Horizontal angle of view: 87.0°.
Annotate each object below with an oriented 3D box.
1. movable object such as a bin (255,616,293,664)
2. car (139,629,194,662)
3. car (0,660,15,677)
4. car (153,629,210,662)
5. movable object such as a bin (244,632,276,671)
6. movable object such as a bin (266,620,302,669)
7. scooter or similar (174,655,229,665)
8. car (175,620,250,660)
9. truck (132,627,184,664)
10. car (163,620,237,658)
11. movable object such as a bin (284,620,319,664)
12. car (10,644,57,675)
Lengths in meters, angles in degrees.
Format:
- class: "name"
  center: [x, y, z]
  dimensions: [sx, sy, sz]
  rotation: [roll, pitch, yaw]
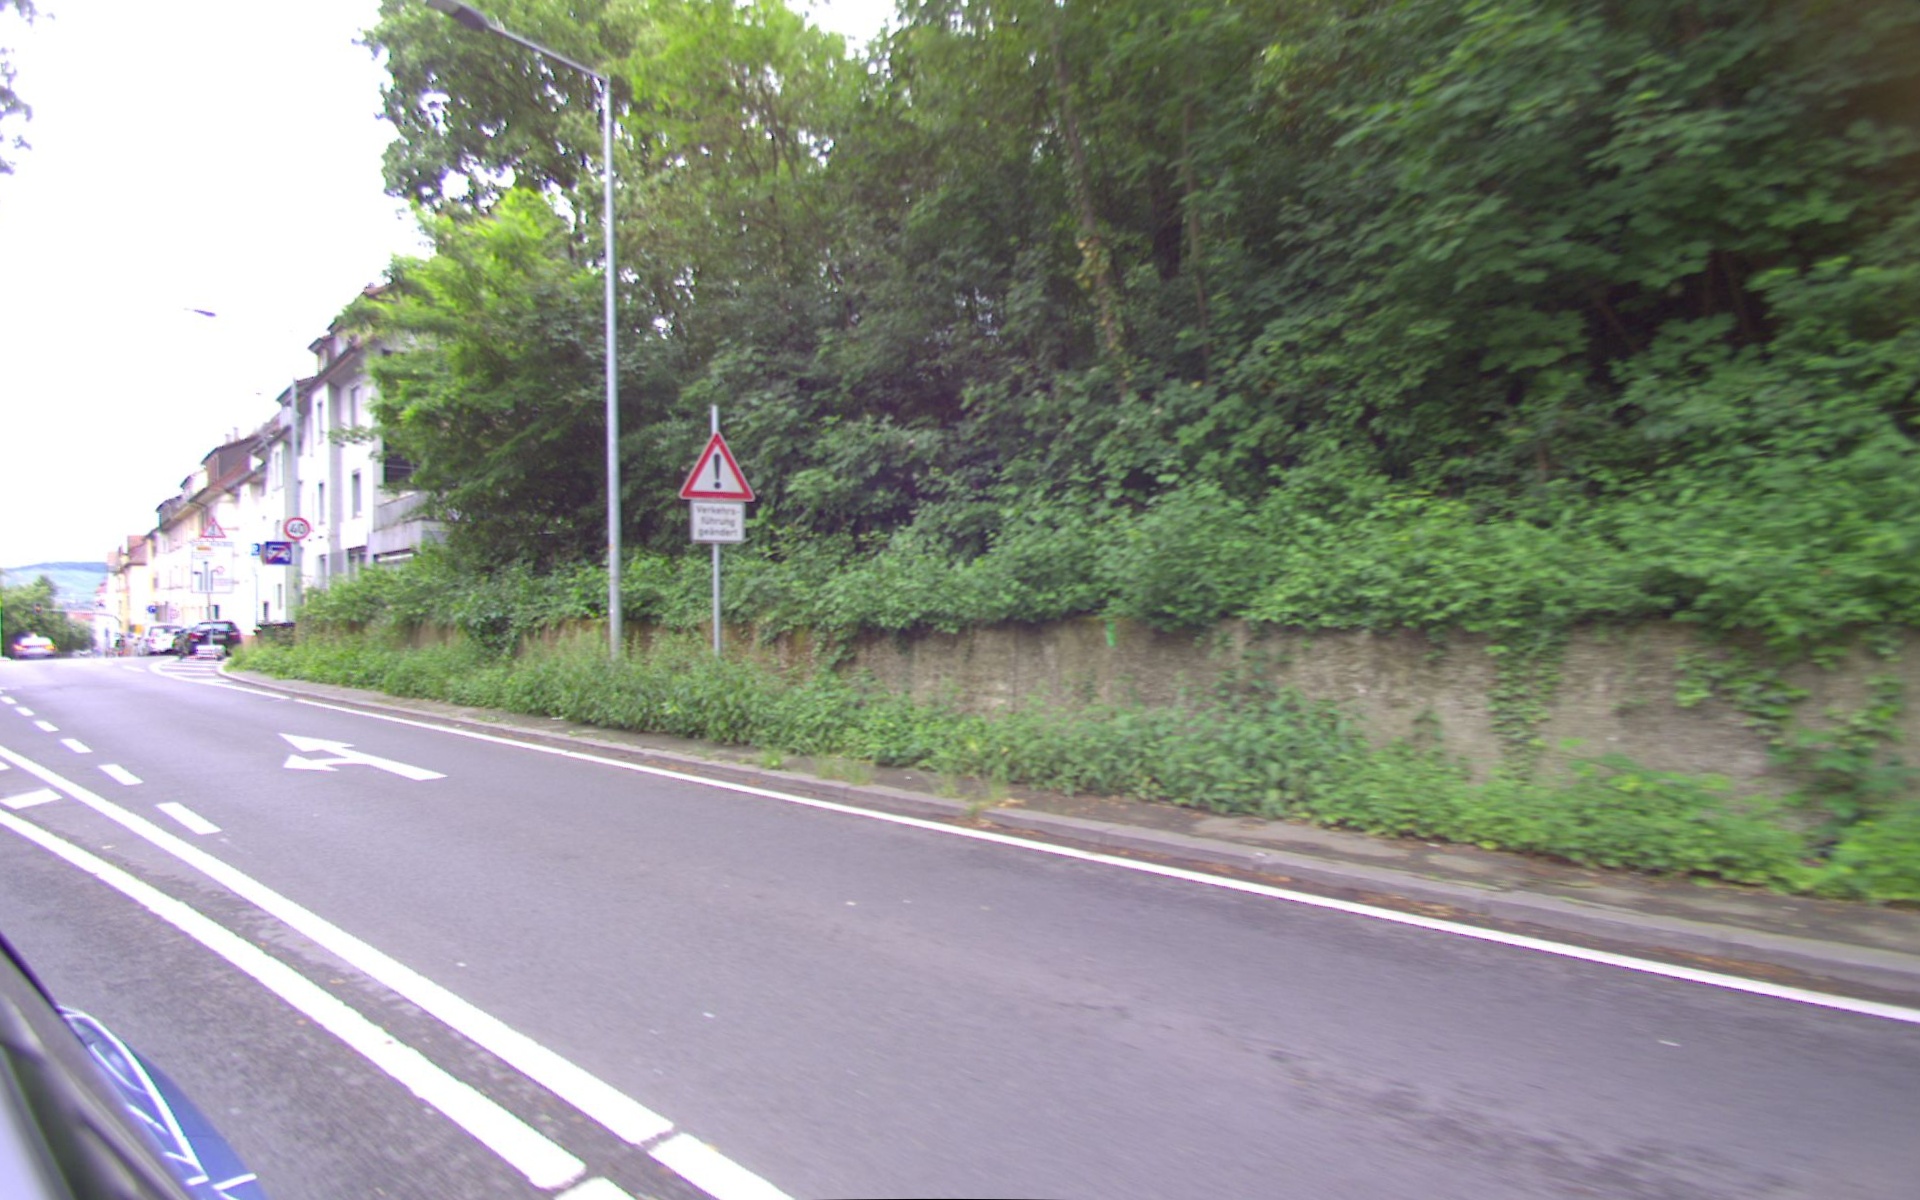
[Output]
- class: "movable object such as a bin"
  center: [-17.707, 1.026, 26.132]
  dimensions: [0.490, 1.194, 0.600]
  rotation: [-2, 1, 33]
- class: "car"
  center: [-42.129, 2.445, 53.696]
  dimensions: [1.970, 1.564, 4.386]
  rotation: [0, -3, -43]
- class: "car"
  center: [-87.752, 6.313, 92.686]
  dimensions: [1.725, 1.478, 4.590]
  rotation: [-1, -3, -42]
- class: "car"
  center: [-38.650, 2.270, 50.179]
  dimensions: [1.969, 1.485, 4.163]
  rotation: [0, -3, -41]
- class: "movable object such as a bin"
  center: [-18.347, 1.341, 26.540]
  dimensions: [0.443, 0.974, 0.512]
  rotation: [-2, 1, 33]
- class: "movable object such as a bin"
  center: [-17.237, 1.132, 25.793]
  dimensions: [0.429, 1.194, 0.576]
  rotation: [-2, 1, 33]
- class: "scooter or similar"
  center: [-24.328, 1.921, 32.462]
  dimensions: [1.096, 0.290, 1.115]
  rotation: [-2, -2, 33]
- class: "car"
  center: [-28.900, 1.562, 39.081]
  dimensions: [1.969, 1.411, 4.524]
  rotation: [0, -3, -41]
- class: "truck"
  center: [-46.016, 2.631, 58.005]
  dimensions: [1.970, 1.935, 5.352]
  rotation: [0, -3, -43]
- class: "car"
  center: [-32.758, 1.694, 43.595]
  dimensions: [4.213, 1.434, 1.971]
  rotation: [-5, -3, 45]
- class: "movable object such as a bin"
  center: [-16.336, 1.039, 25.119]
  dimensions: [0.429, 1.032, 0.551]
  rotation: [-2, 1, 33]
- class: "car"
  center: [-57.403, 3.653, 62.658]
  dimensions: [4.937, 1.711, 1.849]
  rotation: [-2, -1, 44]
